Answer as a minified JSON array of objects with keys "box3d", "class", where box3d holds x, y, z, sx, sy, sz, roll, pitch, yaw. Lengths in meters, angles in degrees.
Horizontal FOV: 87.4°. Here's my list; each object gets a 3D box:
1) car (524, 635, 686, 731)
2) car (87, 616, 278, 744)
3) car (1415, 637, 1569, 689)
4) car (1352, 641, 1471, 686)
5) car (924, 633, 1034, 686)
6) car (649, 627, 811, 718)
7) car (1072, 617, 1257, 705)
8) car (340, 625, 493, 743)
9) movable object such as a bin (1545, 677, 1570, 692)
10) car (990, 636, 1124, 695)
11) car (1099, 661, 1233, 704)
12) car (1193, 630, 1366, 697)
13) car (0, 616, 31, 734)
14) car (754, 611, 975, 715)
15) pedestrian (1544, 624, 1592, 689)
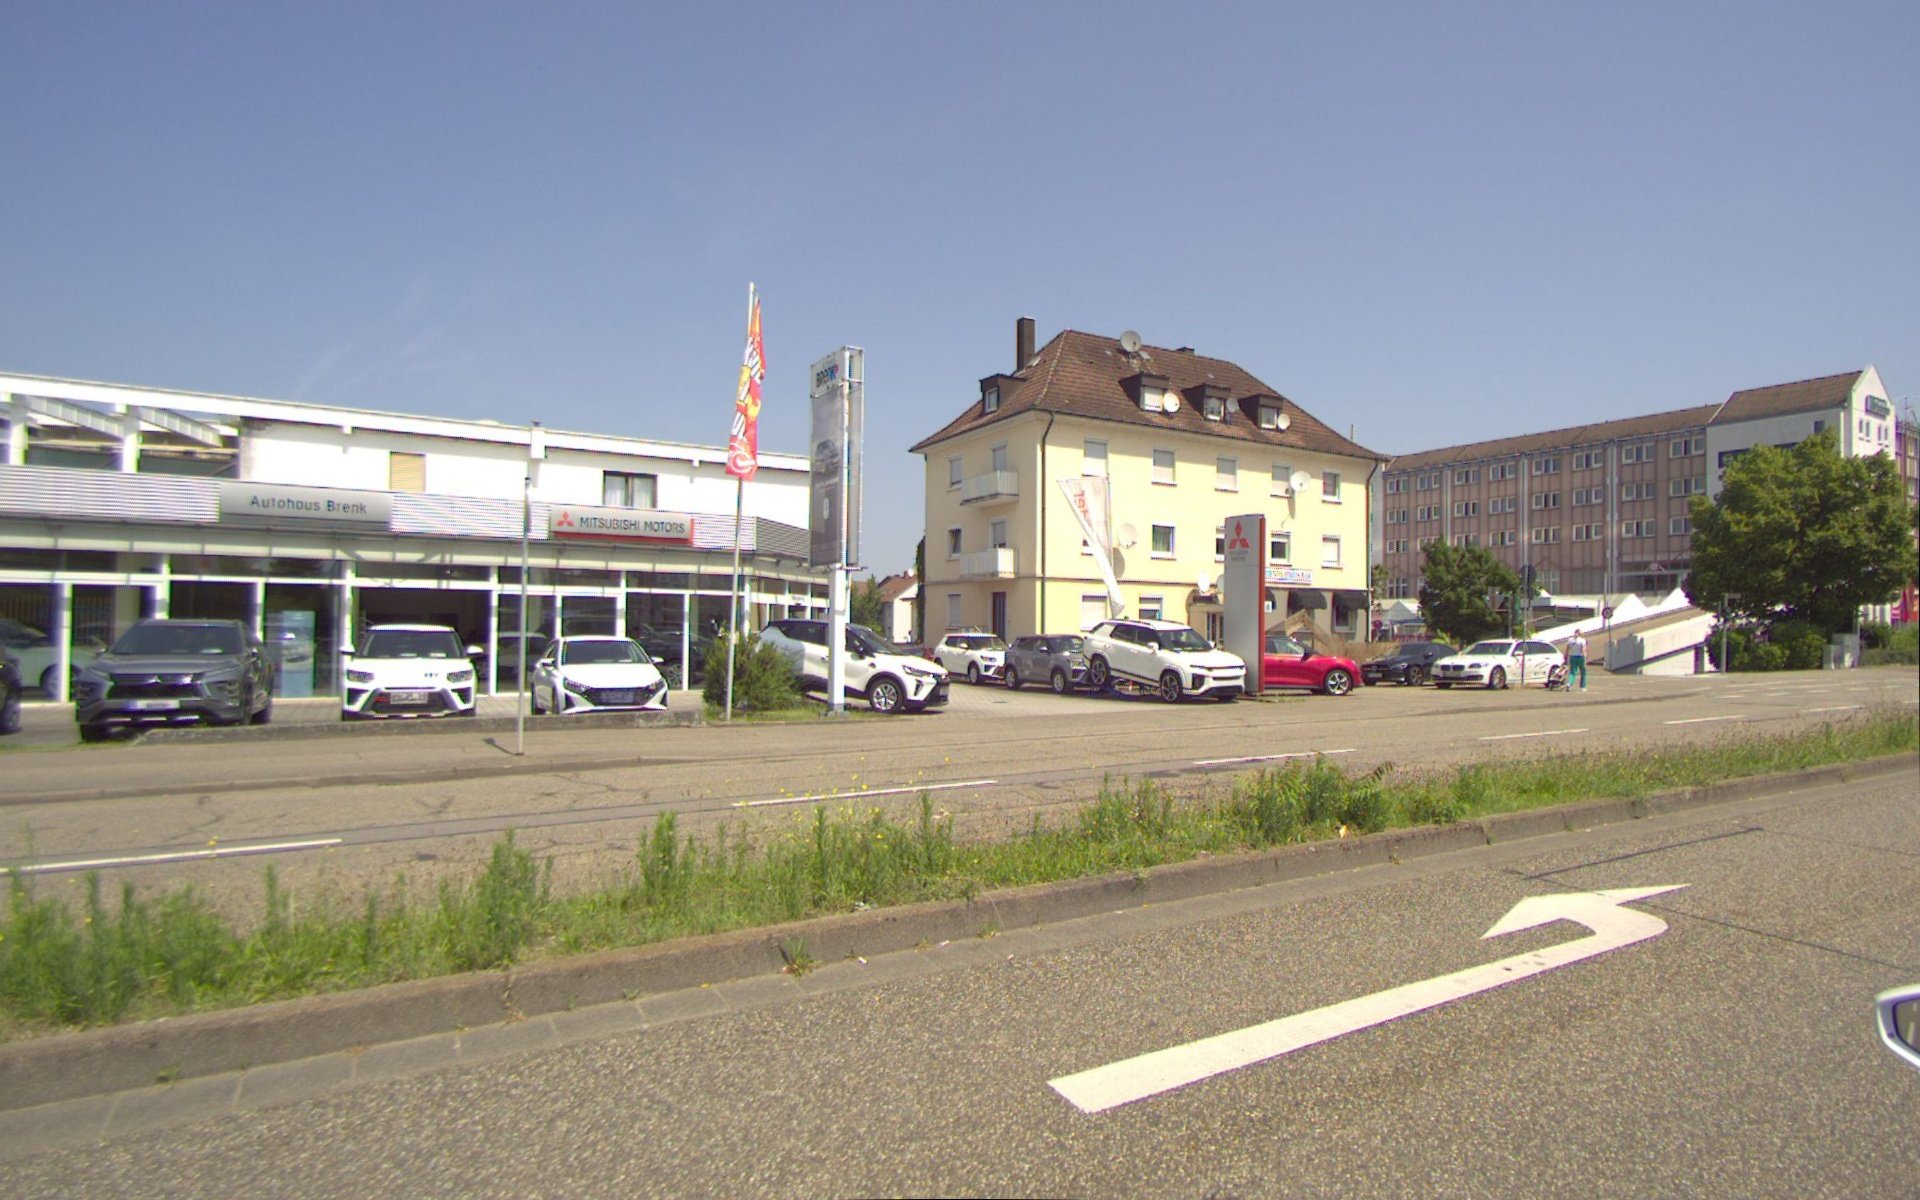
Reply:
[{"box3d":[-6.218,1.325,17.326,1.839,1.413,3.966,1,-2,-32],"class":"car"},{"box3d":[-11.143,1.082,14.660,1.740,1.588,3.966,1,-3,-32],"class":"car"},{"box3d":[15.904,1.846,29.993,4.699,1.429,1.769,1,-2,-28],"class":"car"},{"box3d":[14.747,2.023,32.776,3.958,1.369,1.722,1,-2,-34],"class":"car"},{"box3d":[0.559,1.903,33.012,1.844,1.636,3.968,1,-2,-31],"class":"car"},{"box3d":[-4.352,1.250,18.571,1.740,1.486,3.966,1,-2,-32],"class":"car"},{"box3d":[4.821,1.387,24.364,1.740,1.732,4.521,1,1,-32],"class":"car"},{"box3d":[-8.779,1.222,16.070,1.904,1.629,3.966,1,-2,-32],"class":"car"},{"box3d":[16.386,2.308,27.540,0.500,0.377,0.414,1,-2,-30],"class":"movable object such as a bin"},{"box3d":[2.693,1.805,28.712,1.844,1.550,3.968,1,-2,-31],"class":"car"},{"box3d":[6.640,2.649,32.541,3.928,1.268,1.648,1,-2,-10],"class":"car"},{"box3d":[8.342,1.628,26.535,4.093,1.664,1.841,0,-2,8],"class":"car"},{"box3d":[-13.658,0.981,12.901,1.740,1.629,3.967,1,-4,-32],"class":"car"},{"box3d":[-1.897,1.199,19.987,3.922,1.645,1.760,4,-1,22],"class":"car"},{"box3d":[16.793,1.545,27.741,1.021,1.770,0.737,1,-2,-29],"class":"pedestrian"}]
